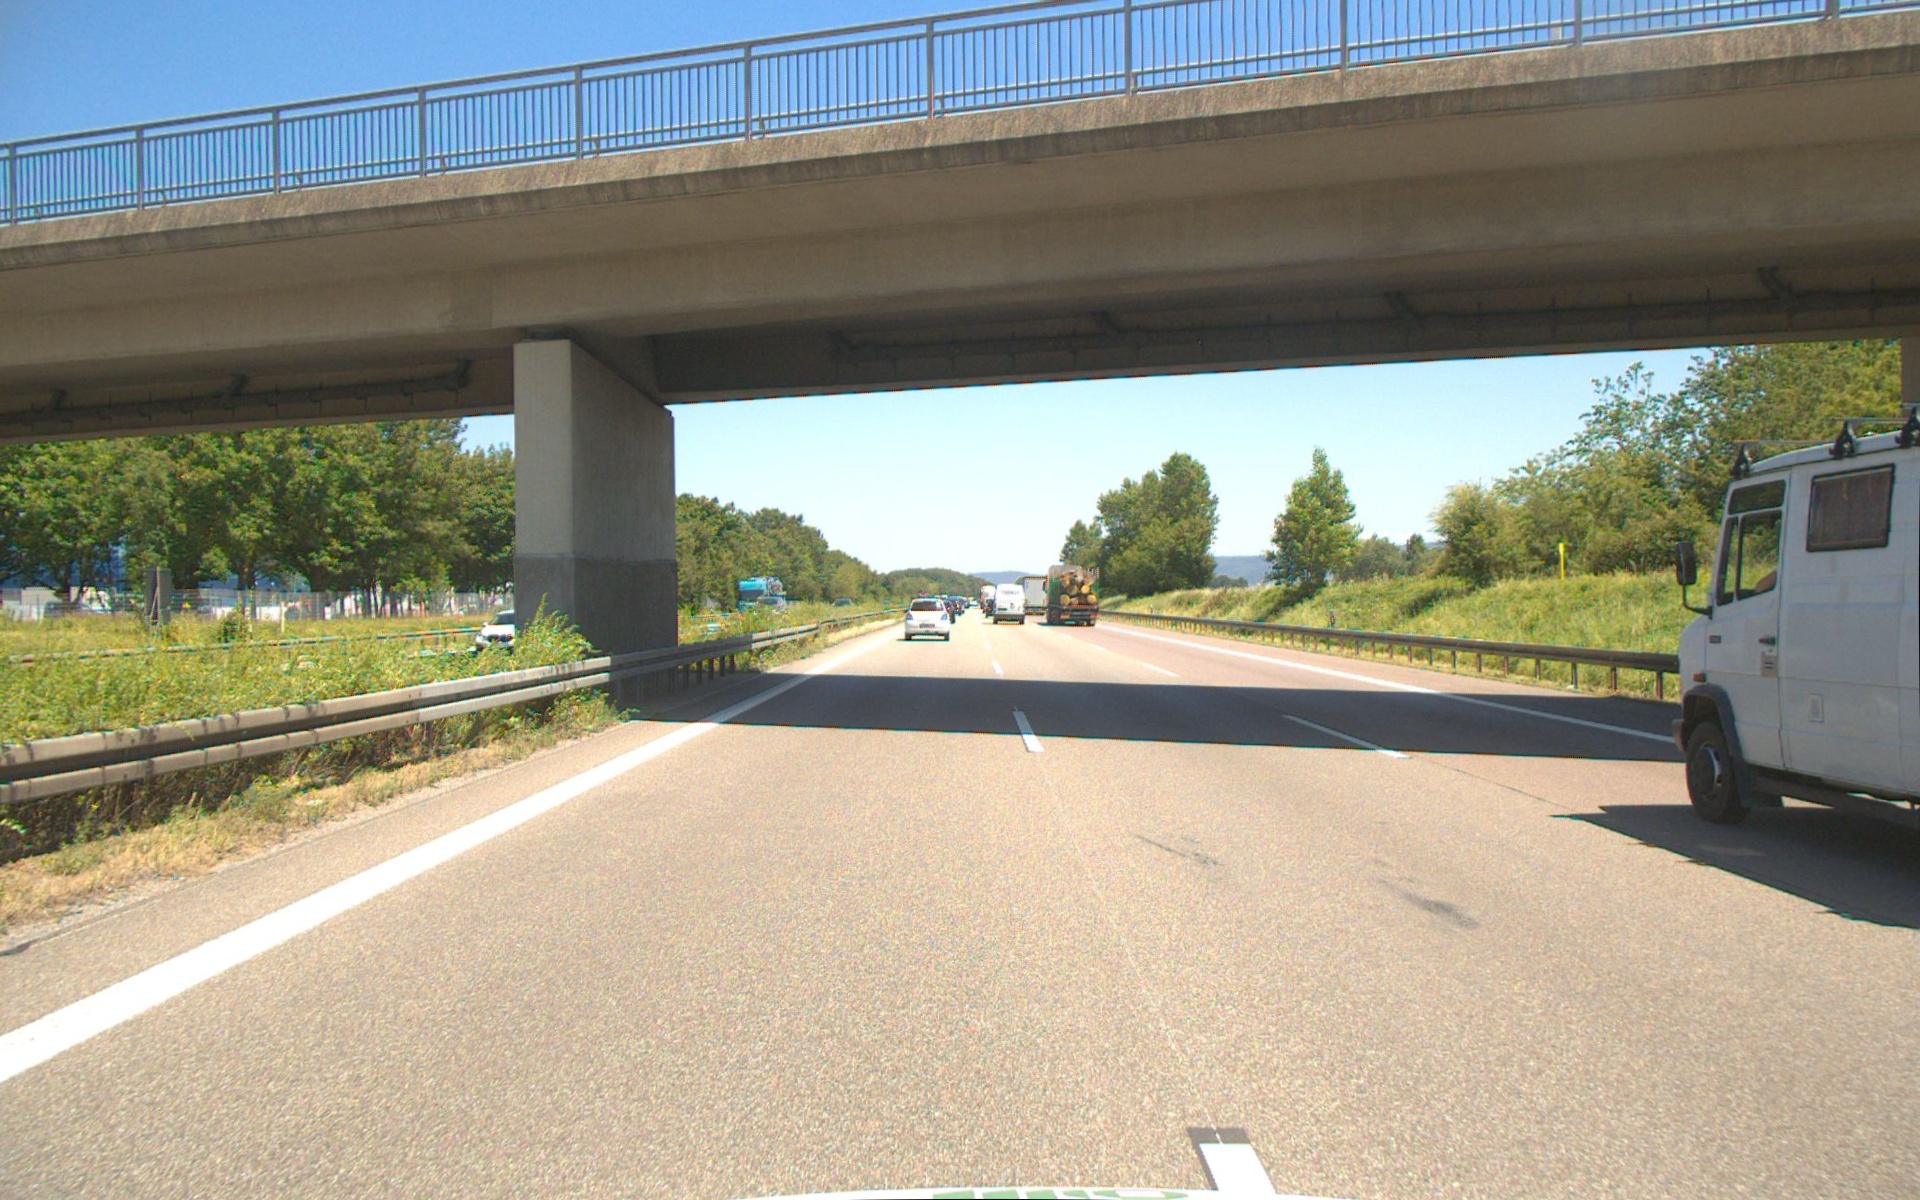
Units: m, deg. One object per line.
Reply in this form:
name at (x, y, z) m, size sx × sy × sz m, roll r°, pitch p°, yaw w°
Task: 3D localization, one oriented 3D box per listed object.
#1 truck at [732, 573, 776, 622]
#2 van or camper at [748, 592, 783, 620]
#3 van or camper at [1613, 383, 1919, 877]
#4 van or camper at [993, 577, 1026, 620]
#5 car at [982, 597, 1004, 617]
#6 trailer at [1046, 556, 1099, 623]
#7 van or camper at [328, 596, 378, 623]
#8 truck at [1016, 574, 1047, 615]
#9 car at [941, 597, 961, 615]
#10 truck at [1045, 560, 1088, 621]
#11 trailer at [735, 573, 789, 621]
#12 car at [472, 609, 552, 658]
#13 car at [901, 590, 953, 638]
truck at (-18.183, -0.194, 146.192) m, size 2.820 × 4.044 × 7.371 m, roll -3°, pitch 0°, yaw 0°
van or camper at (-13.843, 0.409, 117.899) m, size 1.953 × 1.902 × 4.455 m, roll -2°, pitch 0°, yaw -1°
van or camper at (6.375, 0.181, 10.273) m, size 2.070 × 2.750 × 6.366 m, roll 1°, pitch 0°, yaw 0°
van or camper at (3.211, -0.090, 107.825) m, size 2.016 × 2.668 × 5.985 m, roll 1°, pitch 0°, yaw 1°
car at (2.823, 0.621, 142.155) m, size 1.819 × 1.681 × 3.999 m, roll 1°, pitch 0°, yaw -1°
trailer at (7.208, -0.631, 107.403) m, size 2.598 × 4.028 × 13.637 m, roll 1°, pitch 0°, yaw 1°
van or camper at (-61.661, 0.985, 168.190) m, size 2.309 × 2.597 × 7.723 m, roll -1°, pitch 0°, yaw -1°
truck at (7.893, -0.505, 183.767) m, size 3.015 × 4.282 × 16.845 m, roll 2°, pitch 0°, yaw 1°
car at (-0.896, 0.615, 159.887) m, size 1.819 × 1.681 × 3.999 m, roll 1°, pitch 0°, yaw -1°
truck at (7.311, -0.619, 114.442) m, size 2.615 × 4.064 × 6.636 m, roll 1°, pitch 0°, yaw 1°
trailer at (-18.126, -0.237, 152.664) m, size 2.820 × 4.047 × 17.473 m, roll -3°, pitch 0°, yaw 0°
car at (-13.729, 1.007, 50.798) m, size 1.483 × 1.411 × 3.167 m, roll 2°, pitch 0°, yaw 1°
car at (-1.223, 0.522, 62.181) m, size 1.819 × 1.681 × 3.999 m, roll 2°, pitch 0°, yaw -1°
